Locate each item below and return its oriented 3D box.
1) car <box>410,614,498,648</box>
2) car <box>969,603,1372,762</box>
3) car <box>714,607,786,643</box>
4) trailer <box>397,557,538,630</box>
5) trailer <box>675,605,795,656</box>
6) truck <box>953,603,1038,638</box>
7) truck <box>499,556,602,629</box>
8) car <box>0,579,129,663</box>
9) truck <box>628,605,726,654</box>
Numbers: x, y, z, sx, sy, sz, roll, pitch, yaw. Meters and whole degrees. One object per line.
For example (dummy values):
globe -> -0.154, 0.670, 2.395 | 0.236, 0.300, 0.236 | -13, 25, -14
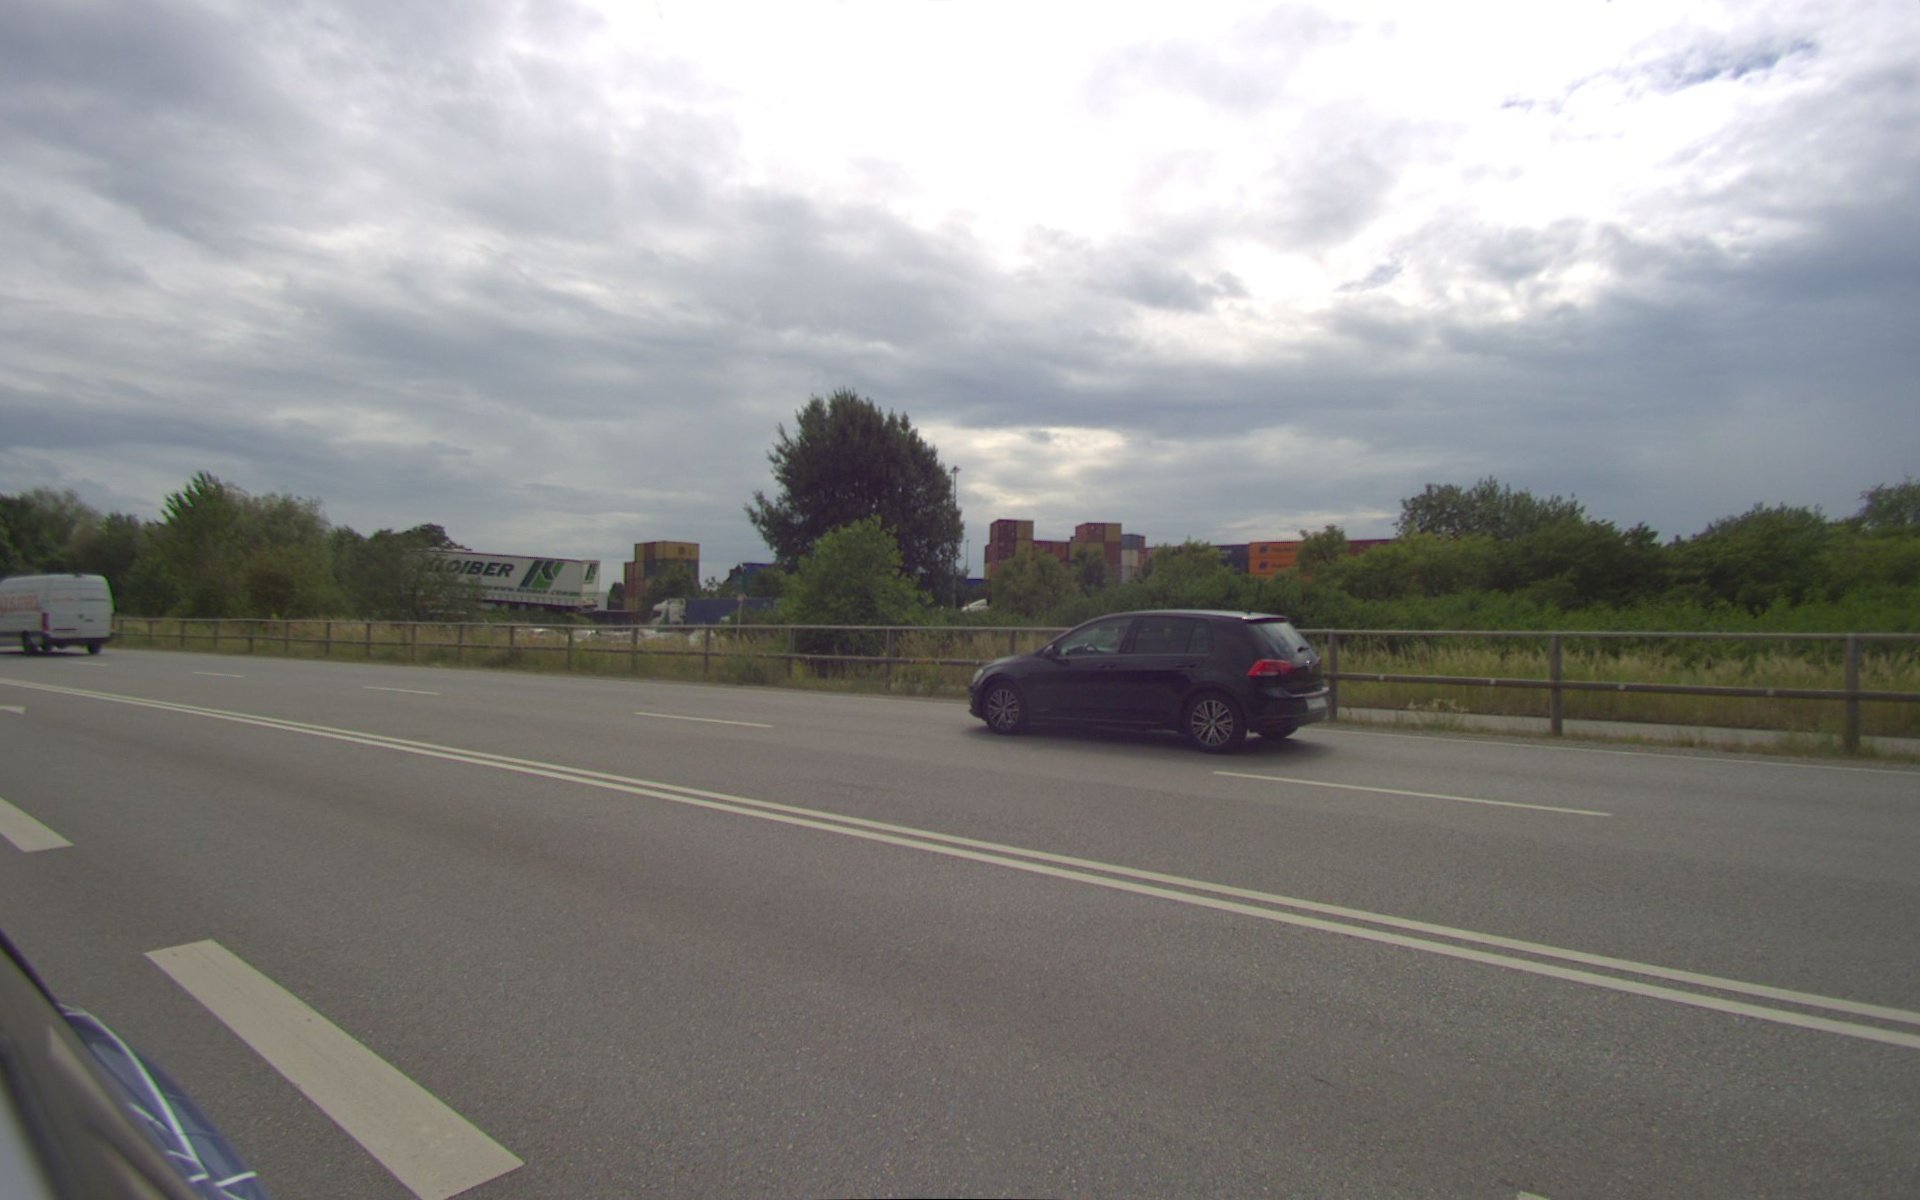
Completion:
car -> -30.016, 1.788, 60.026 | 4.469, 1.890, 2.005 | 0, -1, -33
car -> 2.229, 0.796, 11.311 | 3.998, 1.452, 1.926 | -1, -1, 41
car -> -10.805, 1.258, 52.468 | 1.979, 1.747, 4.568 | -1, 0, 12
trailer -> -34.837, -0.463, 71.703 | 8.875, 5.034, 2.802 | 0, 0, 7
trailer -> -19.970, 2.648, 89.763 | 10.328, 4.325, 3.220 | 0, -1, 21
truck -> 2.800, 1.629, 81.376 | 6.554, 2.703, 2.656 | 0, -1, -4
truck -> -28.659, -0.501, 70.957 | 6.115, 5.034, 2.799 | 0, 0, 7
car -> -31.803, 0.715, 35.185 | 6.864, 2.695, 2.415 | -1, -1, 32
truck -> -25.707, 2.630, 91.944 | 8.257, 4.325, 3.220 | 0, -1, 21
